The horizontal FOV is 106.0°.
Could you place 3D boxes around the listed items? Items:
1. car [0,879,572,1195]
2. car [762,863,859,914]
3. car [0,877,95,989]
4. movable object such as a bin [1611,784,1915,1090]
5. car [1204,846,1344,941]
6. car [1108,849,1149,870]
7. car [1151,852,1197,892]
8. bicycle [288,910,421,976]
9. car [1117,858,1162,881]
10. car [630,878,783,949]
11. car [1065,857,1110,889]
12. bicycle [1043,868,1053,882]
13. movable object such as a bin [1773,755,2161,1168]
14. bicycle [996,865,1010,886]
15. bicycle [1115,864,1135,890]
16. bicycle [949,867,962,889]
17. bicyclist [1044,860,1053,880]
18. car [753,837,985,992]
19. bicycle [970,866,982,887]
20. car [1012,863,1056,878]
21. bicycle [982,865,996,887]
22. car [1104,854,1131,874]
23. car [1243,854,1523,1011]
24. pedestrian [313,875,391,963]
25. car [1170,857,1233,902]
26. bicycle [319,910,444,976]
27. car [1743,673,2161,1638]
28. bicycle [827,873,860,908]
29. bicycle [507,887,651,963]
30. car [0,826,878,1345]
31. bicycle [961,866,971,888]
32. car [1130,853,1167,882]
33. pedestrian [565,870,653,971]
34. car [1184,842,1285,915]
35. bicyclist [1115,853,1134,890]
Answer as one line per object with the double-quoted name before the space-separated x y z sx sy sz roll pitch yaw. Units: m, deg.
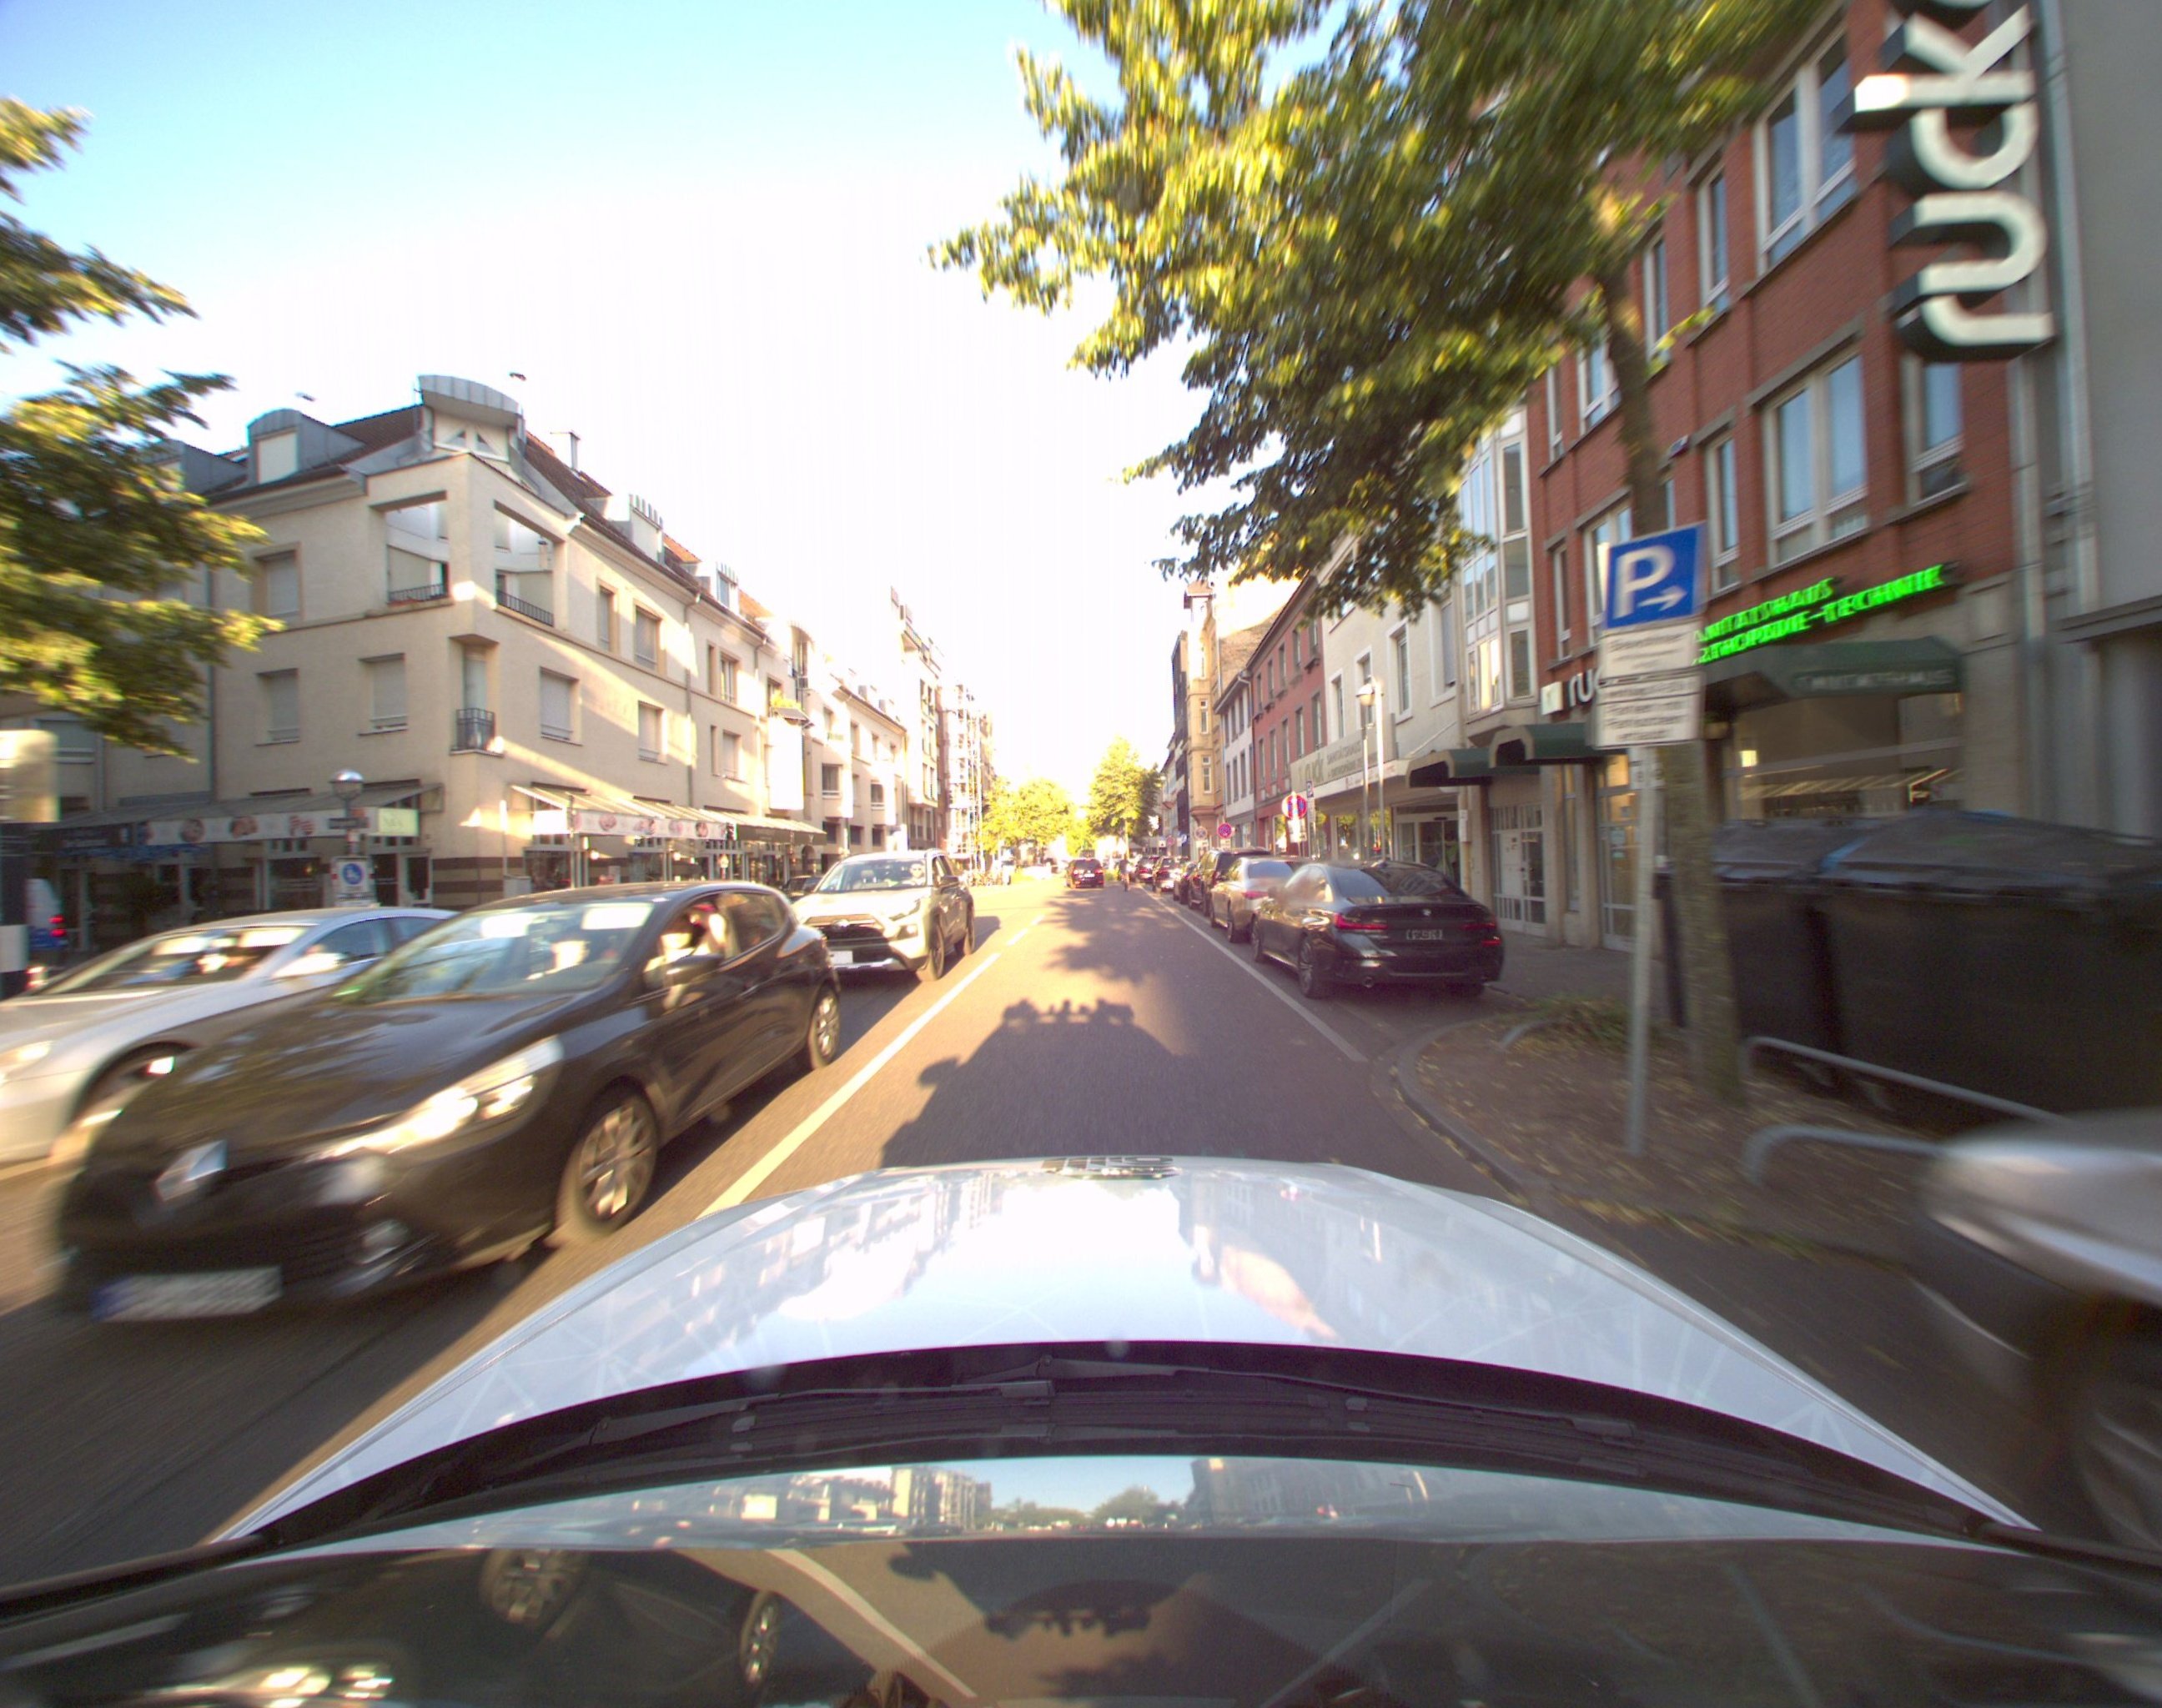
"car" -6.364 1.059 6.164 1.986 1.511 4.511 -5 -1 2
"car" -8.393 1.029 25.593 1.704 1.454 3.726 -1 -1 2
"car" -20.146 1.355 14.160 4.828 1.828 2.008 -1 -1 16
"movable object such as a bin" 4.427 0.489 5.436 0.833 1.774 1.352 -1 -1 -2
"car" 3.507 0.689 15.728 1.804 1.527 4.998 -1 -1 4
"car" 4.920 0.603 83.933 3.967 2.014 2.003 -2 -1 5
"car" 4.194 0.813 37.300 1.805 1.668 4.208 -1 -1 2
"bicycle" -12.950 1.556 14.606 0.487 0.992 2.017 -1 -1 3
"car" 4.001 1.043 56.395 2.961 1.536 1.432 -1 -1 -3
"car" -8.485 1.293 18.823 1.655 1.403 3.884 -1 -1 1
"car" 0.280 1.027 44.483 1.991 1.602 4.499 -1 -1 -6
"bicycle" -3.056 1.965 76.194 0.778 1.204 2.020 -3 -1 -1
"movable object such as a bin" 4.473 0.466 4.136 0.833 1.774 1.205 -1 -1 -2
"bicycle" -5.342 1.440 55.406 0.843 1.351 3.179 -2 -1 -7
"bicycle" 2.093 1.088 39.122 0.778 1.204 2.020 -3 -1 -1
"bicycle" -8.445 1.588 54.961 0.720 1.396 3.145 -1 -1 -7
"bicyclist" -3.057 1.466 76.316 0.778 1.829 1.007 -3 -1 -1
"car" -2.670 0.725 11.543 1.934 1.645 4.738 -3 -1 0
"bicycle" -7.081 1.517 55.163 0.780 1.373 3.135 -1 -1 -7
"car" -4.616 1.618 79.913 4.085 1.466 1.891 -1 -1 3
"bicycle" -6.232 1.492 55.286 0.892 1.395 3.158 -2 -1 -7
"car" 3.703 1.036 83.406 2.259 1.766 4.506 4 -1 -1
"car" 3.230 0.725 9.751 1.746 1.420 4.510 -1 0 1
"pedestrian" -14.568 1.277 16.283 0.897 1.676 0.782 -1 -1 15
"car" 4.200 0.874 28.921 1.755 1.484 4.309 -1 -1 2
"bicycle" -12.403 1.550 14.537 0.488 0.992 2.015 -1 -1 0
"car" 2.832 0.551 0.429 1.650 1.778 4.009 -1 0 -1
"bicycle" -9.698 1.465 33.307 0.608 1.375 2.359 -1 -1 1
"bicycle" -9.941 1.352 16.356 0.955 1.300 3.126 -1 -1 0
"car" -2.726 0.767 4.781 1.717 1.549 4.467 -3 -1 2
"bicycle" -7.775 1.540 55.056 0.584 1.396 3.153 -1 -1 -7
"car" 4.144 0.858 50.760 1.820 1.695 4.366 -1 -1 -1
"pedestrian" -8.579 1.185 14.832 0.895 1.676 1.000 -3 2 36
"car" 4.064 0.647 22.388 1.877 1.754 5.059 -1 -1 1
"bicyclist" 2.088 0.846 39.176 0.778 1.696 1.007 -3 -1 -1
